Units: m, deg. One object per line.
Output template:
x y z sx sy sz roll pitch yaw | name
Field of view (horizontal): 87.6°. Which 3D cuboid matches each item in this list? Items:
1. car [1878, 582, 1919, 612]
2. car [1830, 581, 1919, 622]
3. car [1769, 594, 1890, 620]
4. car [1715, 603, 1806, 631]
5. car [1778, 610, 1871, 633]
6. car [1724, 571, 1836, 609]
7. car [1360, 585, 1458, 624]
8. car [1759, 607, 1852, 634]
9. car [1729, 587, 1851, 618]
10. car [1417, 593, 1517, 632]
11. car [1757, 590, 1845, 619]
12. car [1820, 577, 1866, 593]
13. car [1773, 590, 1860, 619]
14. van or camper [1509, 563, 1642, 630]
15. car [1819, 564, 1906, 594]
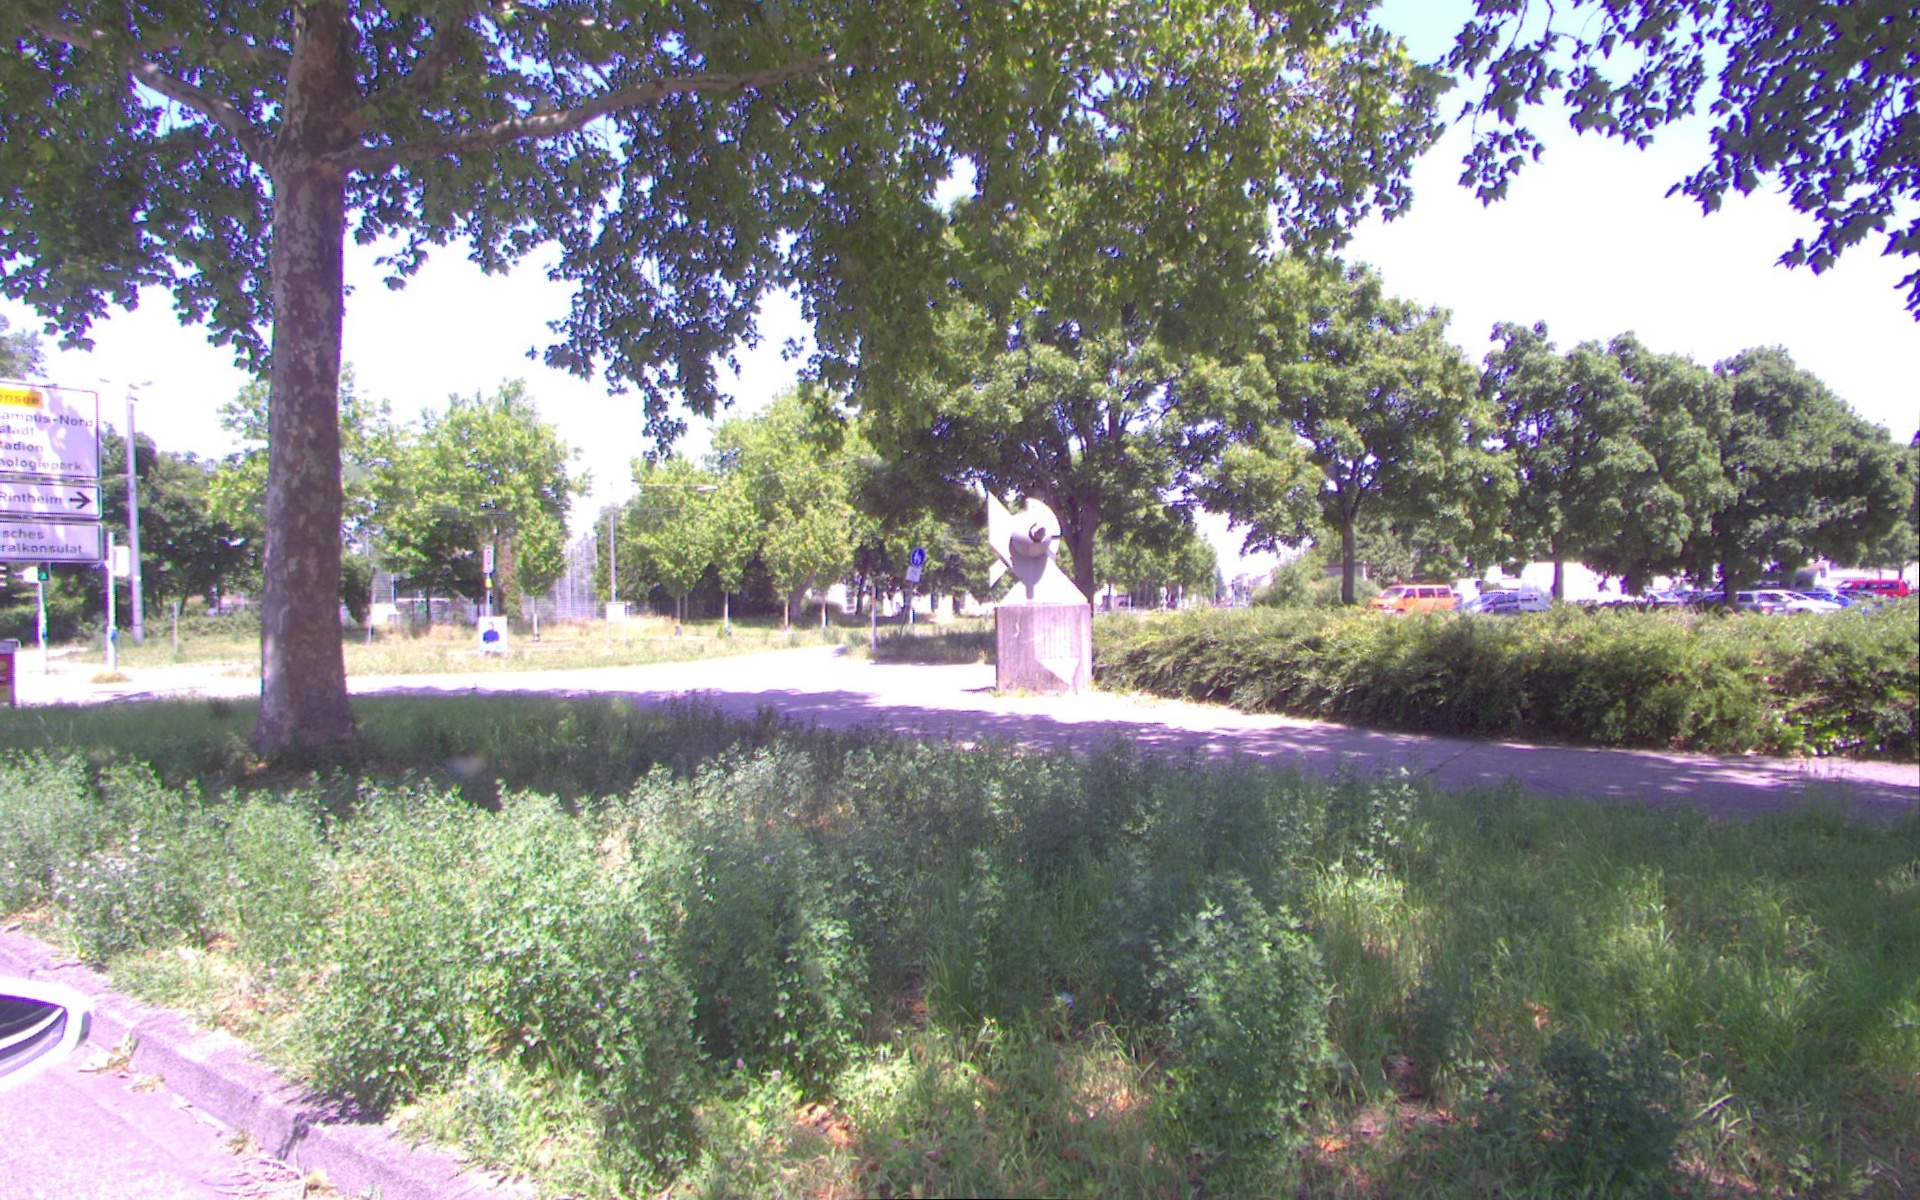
44.760 -0.134 46.010 1.690 1.384 3.414 -1 0 -25 | car
57.178 0.133 62.417 1.936 2.036 3.993 4 -7 -23 | car
36.776 0.302 42.440 1.655 1.048 3.553 -1 0 -25 | car
30.803 0.649 38.572 0.938 1.050 2.590 -1 0 -25 | car
33.561 0.827 38.936 0.938 0.852 2.590 -1 0 -25 | car
46.420 -0.547 56.793 2.209 2.040 4.409 -1 0 -22 | car
23.855 0.234 53.227 4.582 2.029 2.069 -1 0 -19 | car
32.407 0.780 38.417 0.938 1.000 2.590 -1 0 -25 | car
34.420 0.089 41.623 1.595 1.242 3.560 0 0 -25 | car
23.942 0.573 47.320 4.000 1.741 1.952 -1 0 -18 | car
34.378 0.177 40.982 0.991 1.141 2.590 -1 0 -25 | car
92.336 -1.548 104.735 3.309 1.639 1.439 -1 0 18 | car
35.454 0.195 41.495 0.938 1.141 2.590 -1 0 -25 | car
27.016 -0.157 43.986 5.039 2.787 2.199 -1 0 -18 | van or camper
103.518 -2.341 114.911 3.155 3.224 7.143 -1 0 -41 | car
